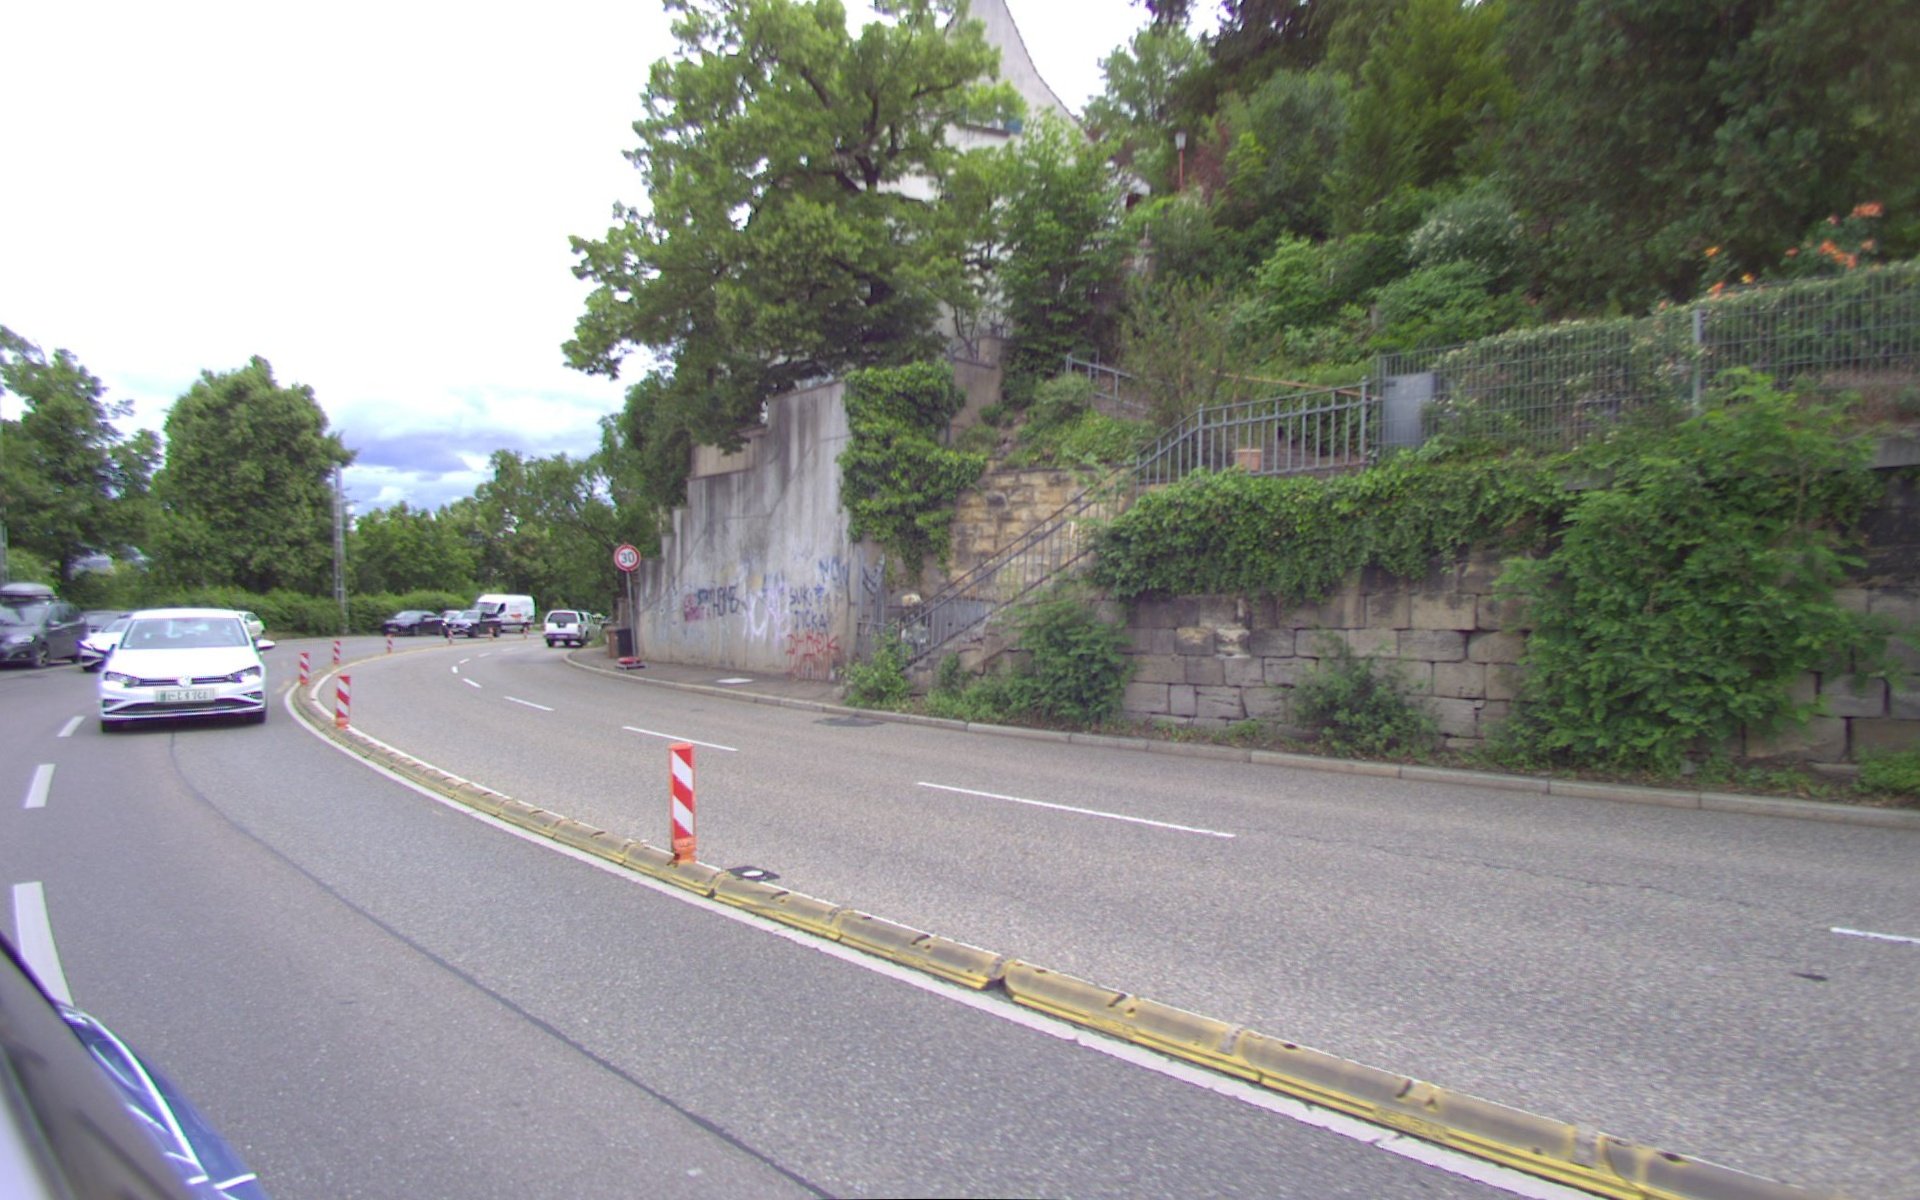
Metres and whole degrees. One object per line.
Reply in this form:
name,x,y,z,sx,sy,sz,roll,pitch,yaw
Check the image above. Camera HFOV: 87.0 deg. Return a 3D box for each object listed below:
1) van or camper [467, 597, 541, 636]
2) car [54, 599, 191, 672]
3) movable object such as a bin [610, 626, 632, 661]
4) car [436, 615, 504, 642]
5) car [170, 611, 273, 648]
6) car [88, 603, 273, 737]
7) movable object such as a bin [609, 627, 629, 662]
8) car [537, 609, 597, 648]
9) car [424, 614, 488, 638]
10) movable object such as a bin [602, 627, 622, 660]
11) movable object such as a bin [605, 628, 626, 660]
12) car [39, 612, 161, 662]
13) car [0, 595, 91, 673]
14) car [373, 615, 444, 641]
van or camper,-31.869,1.135,70.895,2.241,2.648,5.408,0,-1,8
car,-21.853,0.911,26.603,1.965,1.731,4.013,3,-2,-29
movable object such as a bin,-9.532,1.226,28.434,0.519,0.970,0.461,0,-1,-26
car,-28.635,1.633,59.248,1.876,1.505,4.139,0,-1,2
car,-30.566,1.196,42.027,1.903,1.444,4.009,1,-1,-11
car,-10.973,0.850,14.316,1.797,1.592,4.365,1,-1,-38
movable object such as a bin,-9.773,1.265,29.003,0.519,0.970,0.402,0,-1,-26
car,-19.665,1.398,50.832,1.967,1.842,5.158,0,-1,-12
car,-31.799,1.628,63.930,1.852,1.444,4.094,0,-1,3
movable object such as a bin,-10.424,1.298,30.332,0.519,0.970,0.431,0,-1,-26
movable object such as a bin,-10.168,1.294,29.875,0.519,0.937,0.483,0,-1,-26
car,-26.839,1.113,31.733,1.901,1.444,4.013,0,-1,-25
car,-24.206,0.817,26.060,1.669,1.846,4.418,3,-2,-27
car,-31.787,1.586,58.418,1.907,1.444,4.099,0,-1,0
